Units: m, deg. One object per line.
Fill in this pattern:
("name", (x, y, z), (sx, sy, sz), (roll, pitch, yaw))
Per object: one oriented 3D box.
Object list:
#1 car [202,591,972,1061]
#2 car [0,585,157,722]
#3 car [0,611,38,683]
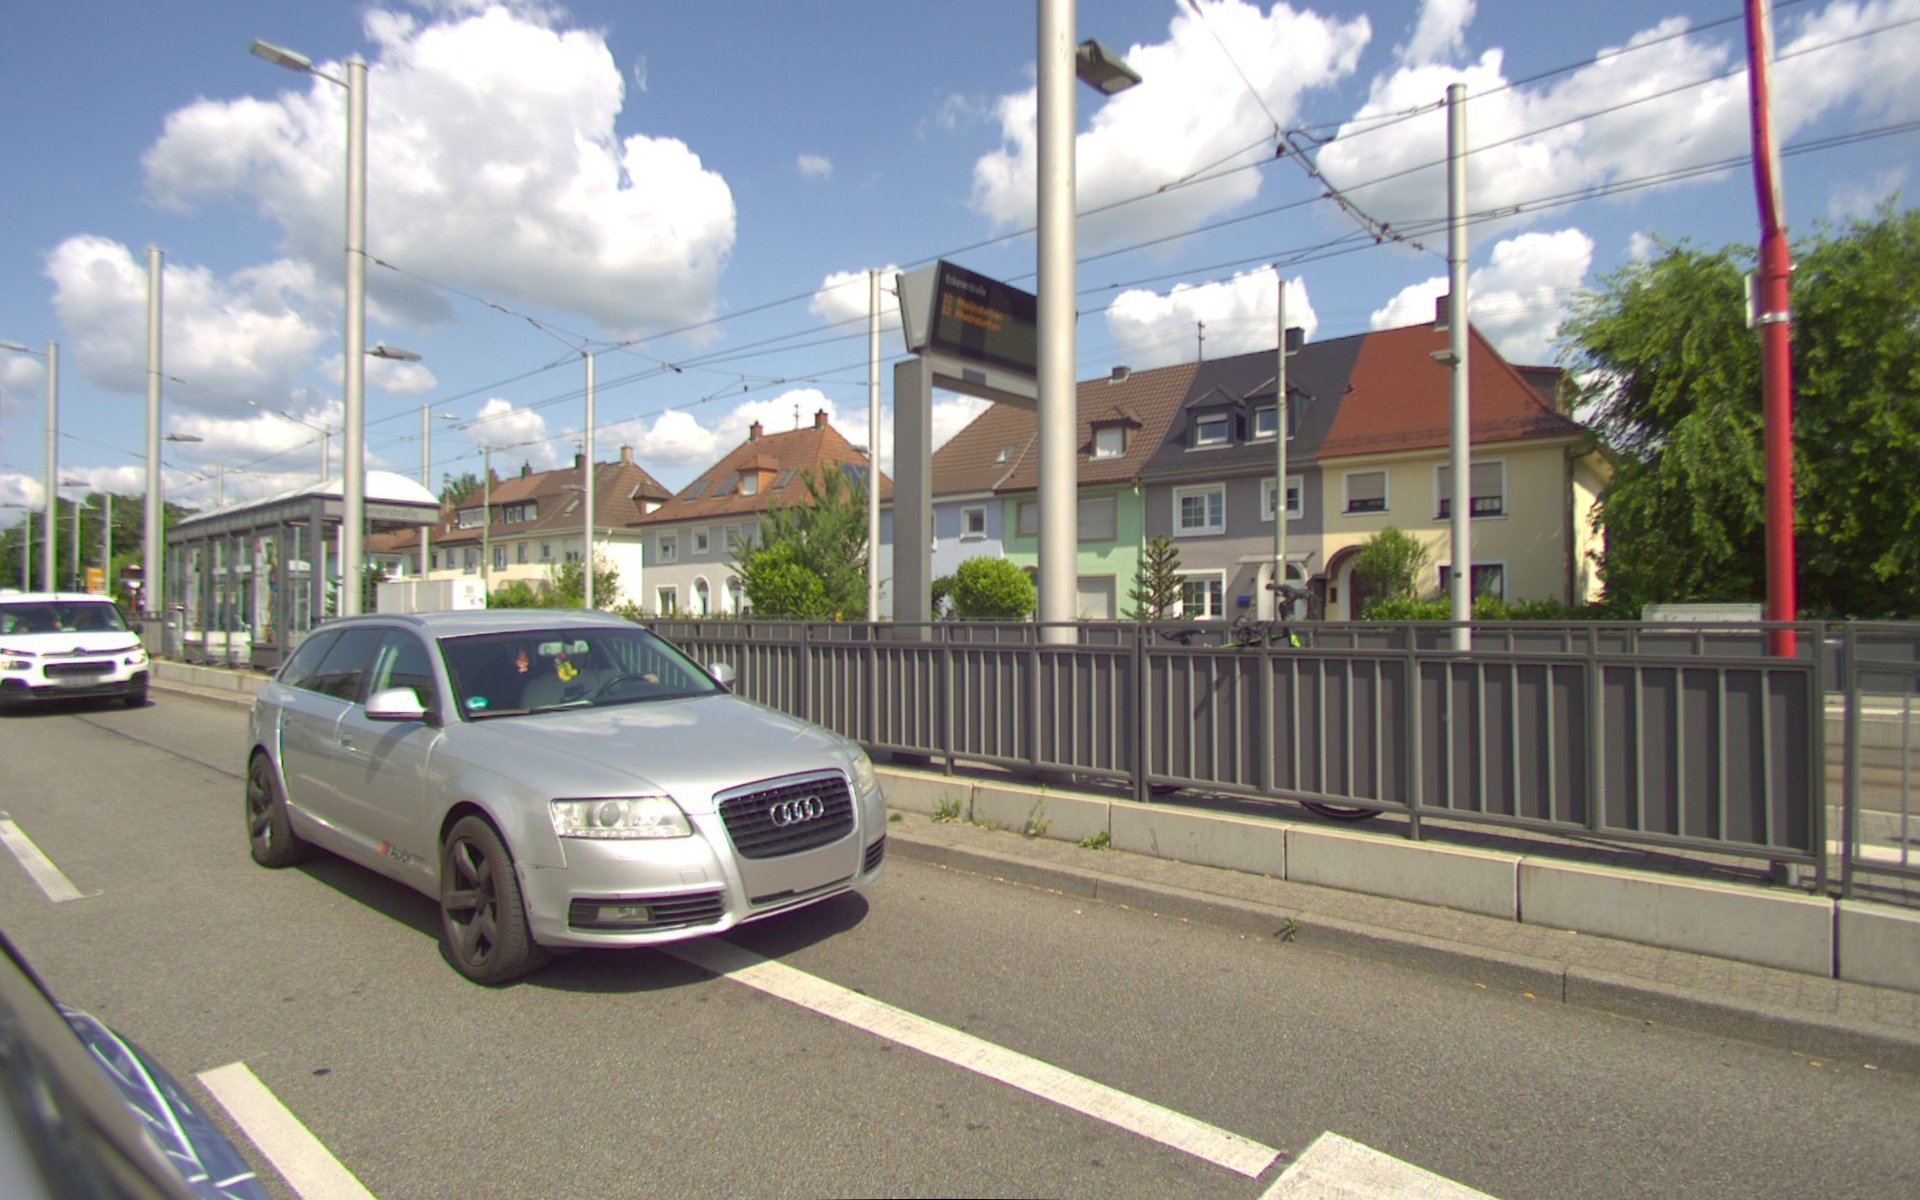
("car", (-2.318, 0.720, 5.426), (4.718, 1.483, 1.776), (0, 0, 40))
("car", (-14.027, 0.714, 15.545), (4.325, 1.829, 1.777), (0, 0, 40))
("car", (-21.944, 1.035, 22.430), (3.388, 1.515, 1.660), (-1, 0, 38))
